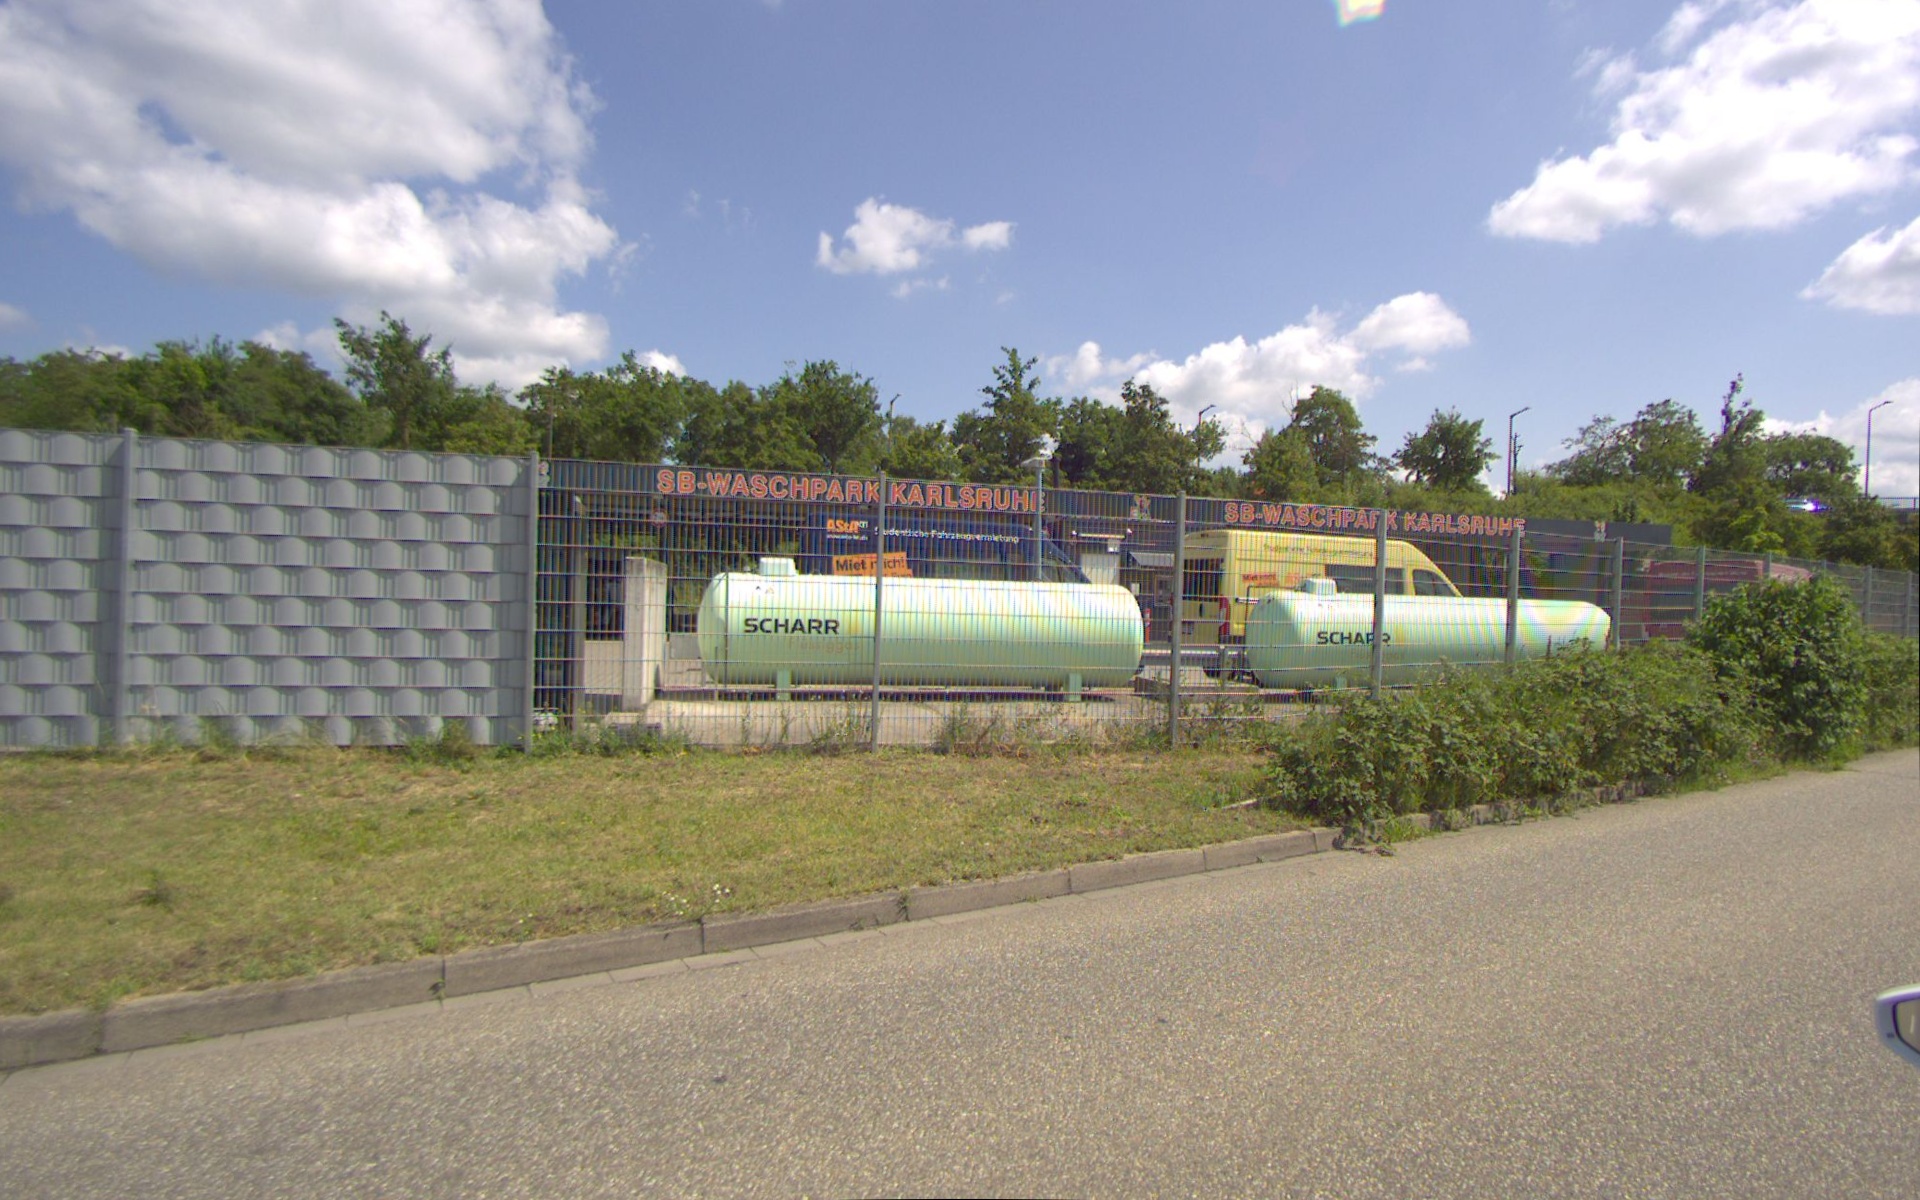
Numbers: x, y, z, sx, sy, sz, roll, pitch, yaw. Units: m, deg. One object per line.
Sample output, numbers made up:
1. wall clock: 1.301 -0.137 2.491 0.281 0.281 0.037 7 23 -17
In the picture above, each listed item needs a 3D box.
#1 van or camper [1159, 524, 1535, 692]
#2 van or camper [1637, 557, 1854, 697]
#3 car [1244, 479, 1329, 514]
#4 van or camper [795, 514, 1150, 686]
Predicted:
1. van or camper: 6.432 0.172 16.941 5.562 2.458 2.244 2 0 -13
2. van or camper: 16.373 0.559 20.820 5.649 2.547 2.172 1 -2 -37
3. car: 22.206 -7.044 68.467 5.229 2.040 2.001 1 -2 4
4. van or camper: 0.120 0.039 15.147 5.019 2.246 1.876 2 0 -12
